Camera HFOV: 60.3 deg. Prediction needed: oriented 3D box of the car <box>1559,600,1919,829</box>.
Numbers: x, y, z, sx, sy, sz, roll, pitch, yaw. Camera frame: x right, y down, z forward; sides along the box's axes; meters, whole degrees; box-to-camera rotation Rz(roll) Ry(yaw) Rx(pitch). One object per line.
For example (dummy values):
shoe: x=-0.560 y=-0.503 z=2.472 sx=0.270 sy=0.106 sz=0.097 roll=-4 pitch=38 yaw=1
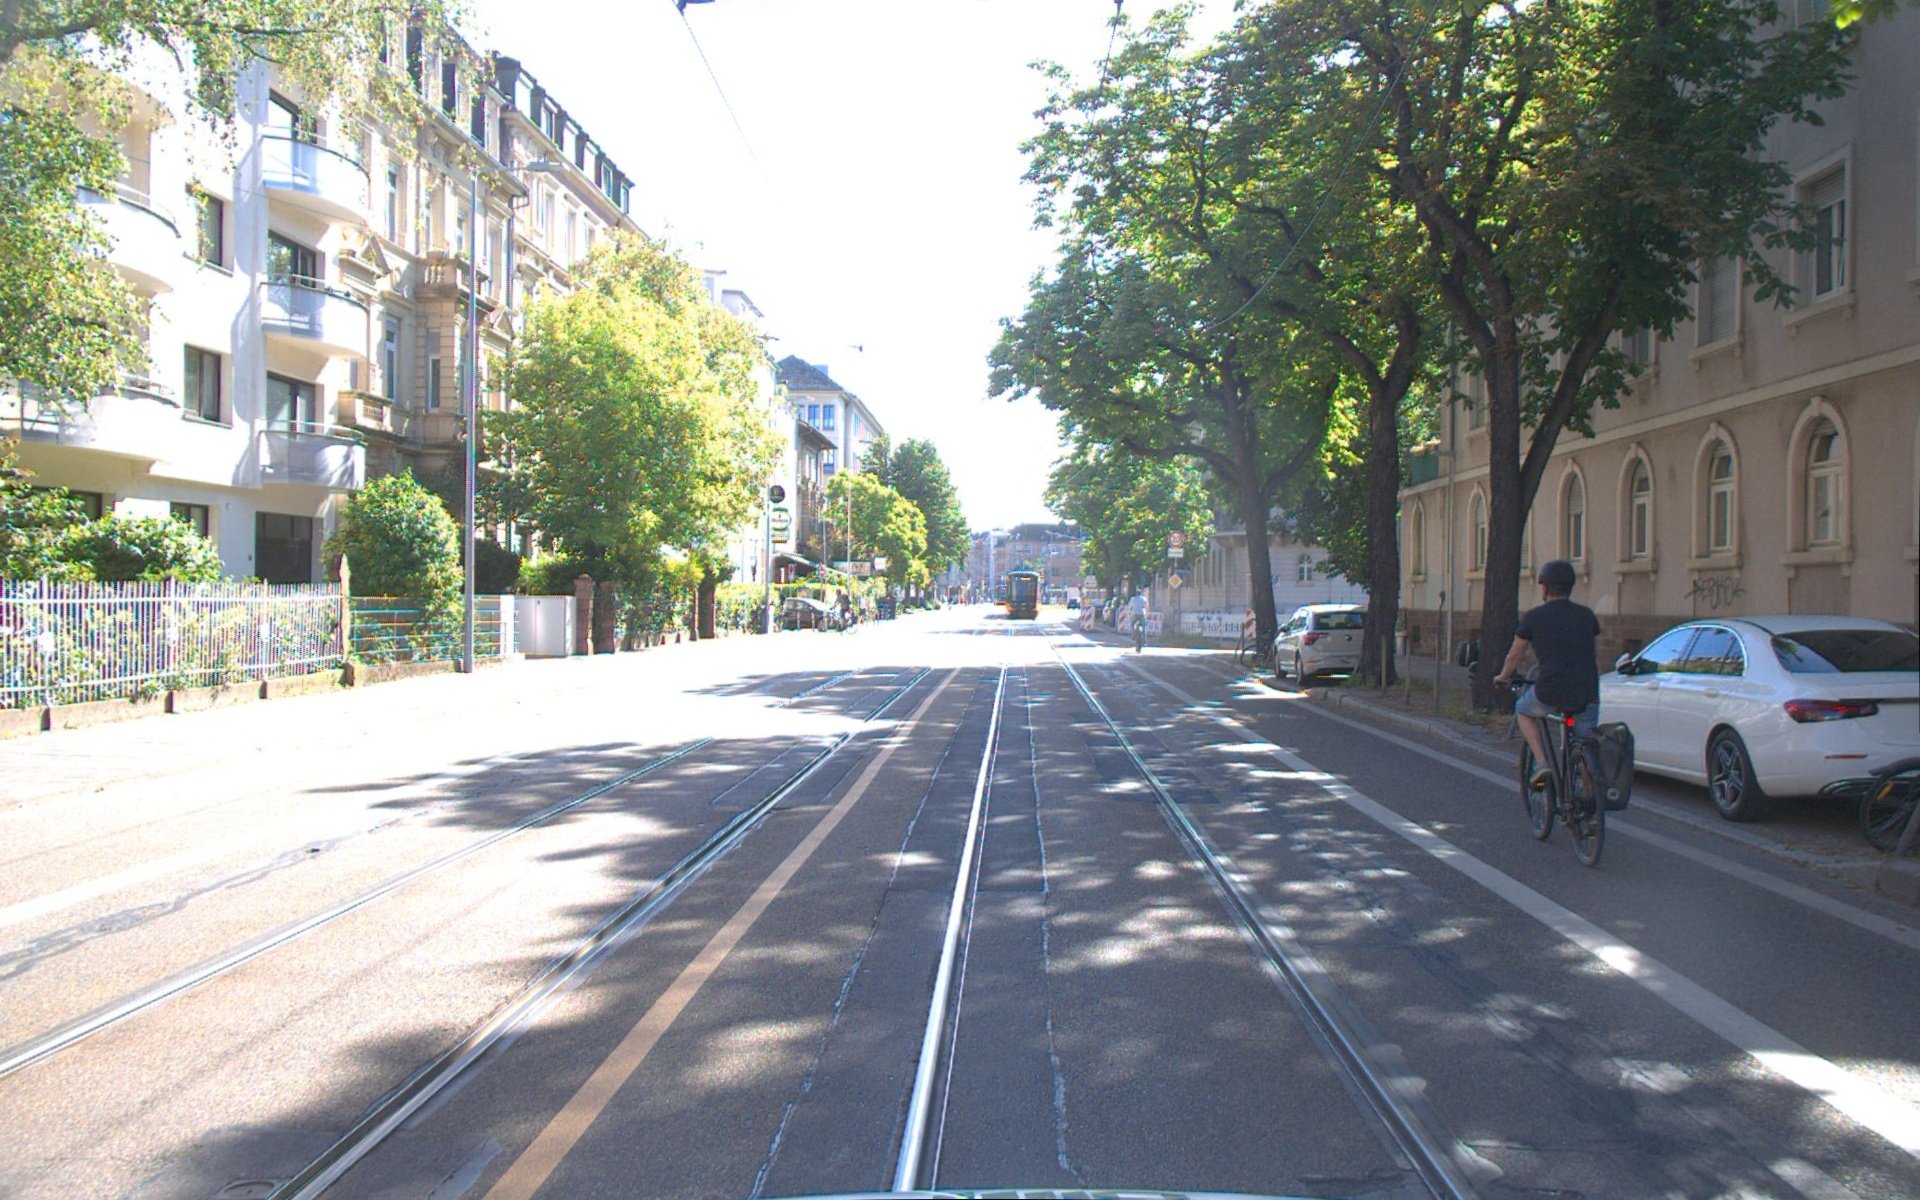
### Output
car: x=6.450 y=0.748 z=13.175 sx=1.595 sy=1.461 sz=4.664 roll=0 pitch=0 yaw=-1

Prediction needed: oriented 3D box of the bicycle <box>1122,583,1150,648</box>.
bicycle: x=5.299 y=0.464 z=49.886 sx=0.649 sy=1.891 sz=2.261 roll=2 pitch=0 yaw=3

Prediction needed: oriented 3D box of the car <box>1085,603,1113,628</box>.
car: x=9.631 y=1.069 z=114.561 sx=1.718 sy=1.579 sz=3.678 roll=2 pitch=0 yaw=2

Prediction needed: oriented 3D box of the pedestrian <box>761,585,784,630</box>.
pedestrian: x=-7.490 y=0.300 z=66.141 sx=0.754 sy=1.742 sz=0.669 roll=2 pitch=0 yaw=2

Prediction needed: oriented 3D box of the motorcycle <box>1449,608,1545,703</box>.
motorcycle: x=7.534 y=0.749 z=23.305 sx=0.695 sy=1.265 sz=2.185 roll=0 pitch=0 yaw=1

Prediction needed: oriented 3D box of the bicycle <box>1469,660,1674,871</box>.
bicycle: x=3.805 y=0.988 z=10.434 sx=0.677 sy=1.132 sz=1.719 roll=2 pitch=0 yaw=2

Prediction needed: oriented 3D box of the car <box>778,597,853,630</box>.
car: x=-6.652 y=0.627 z=75.914 sx=1.742 sy=1.445 sz=3.530 roll=2 pitch=-2 yaw=-38

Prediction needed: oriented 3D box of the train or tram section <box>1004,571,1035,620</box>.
train or tram section: x=4.398 y=-0.364 z=122.951 sx=2.109 sy=3.491 sz=6.612 roll=2 pitch=0 yaw=2

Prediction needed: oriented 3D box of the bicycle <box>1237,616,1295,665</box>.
bicycle: x=6.931 y=0.916 z=37.535 sx=1.243 sy=1.042 sz=0.704 roll=2 pitch=-1 yaw=10

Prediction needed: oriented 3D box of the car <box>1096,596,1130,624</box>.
car: x=9.080 y=0.600 z=98.421 sx=1.718 sy=1.579 sz=3.678 roll=2 pitch=0 yaw=2

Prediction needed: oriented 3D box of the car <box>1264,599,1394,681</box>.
car: x=7.054 y=0.725 z=31.972 sx=1.712 sy=1.445 sz=4.001 roll=0 pitch=0 yaw=1

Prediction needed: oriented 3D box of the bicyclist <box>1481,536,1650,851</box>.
bicyclist: x=3.784 y=0.562 z=10.403 sx=0.712 sy=1.880 sz=0.837 roll=2 pitch=0 yaw=1

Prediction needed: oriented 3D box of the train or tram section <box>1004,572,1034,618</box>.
train or tram section: x=4.606 y=-0.389 z=129.587 sx=2.109 sy=3.491 sz=6.612 roll=2 pitch=0 yaw=2

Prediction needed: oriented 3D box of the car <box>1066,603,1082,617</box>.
car: x=14.666 y=1.291 z=212.904 sx=1.833 sy=1.691 sz=3.515 roll=2 pitch=0 yaw=2

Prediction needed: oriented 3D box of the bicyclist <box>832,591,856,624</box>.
bicyclist: x=-4.778 y=0.310 z=68.111 sx=0.756 sy=1.314 sz=0.733 roll=2 pitch=0 yaw=18

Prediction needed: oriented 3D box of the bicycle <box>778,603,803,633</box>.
bicycle: x=-6.555 y=0.698 z=63.918 sx=0.622 sy=1.088 sz=1.824 roll=2 pitch=0 yaw=-16

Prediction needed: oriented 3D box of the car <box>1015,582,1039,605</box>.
car: x=6.205 y=-0.584 z=152.736 sx=1.953 sy=2.049 sz=3.999 roll=2 pitch=0 yaw=-1

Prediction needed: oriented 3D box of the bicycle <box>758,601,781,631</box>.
bicycle: x=-7.282 y=0.604 z=63.162 sx=0.622 sy=1.088 sz=1.825 roll=2 pitch=0 yaw=-15

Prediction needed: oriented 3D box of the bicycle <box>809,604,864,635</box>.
bicycle: x=-5.096 y=0.781 z=68.223 sx=2.094 sy=1.191 sz=0.803 roll=2 pitch=0 yaw=17

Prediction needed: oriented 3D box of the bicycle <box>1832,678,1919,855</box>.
bicycle: x=6.559 y=1.018 z=10.443 sx=1.755 sy=1.037 sz=0.620 roll=-2 pitch=0 yaw=1

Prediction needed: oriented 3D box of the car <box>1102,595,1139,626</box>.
car: x=8.708 y=0.557 z=89.810 sx=1.718 sy=1.579 sz=3.678 roll=2 pitch=0 yaw=2

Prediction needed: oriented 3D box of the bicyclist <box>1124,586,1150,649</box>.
bicyclist: x=5.263 y=0.509 z=49.248 sx=0.632 sy=1.827 sz=0.956 roll=2 pitch=0 yaw=2
